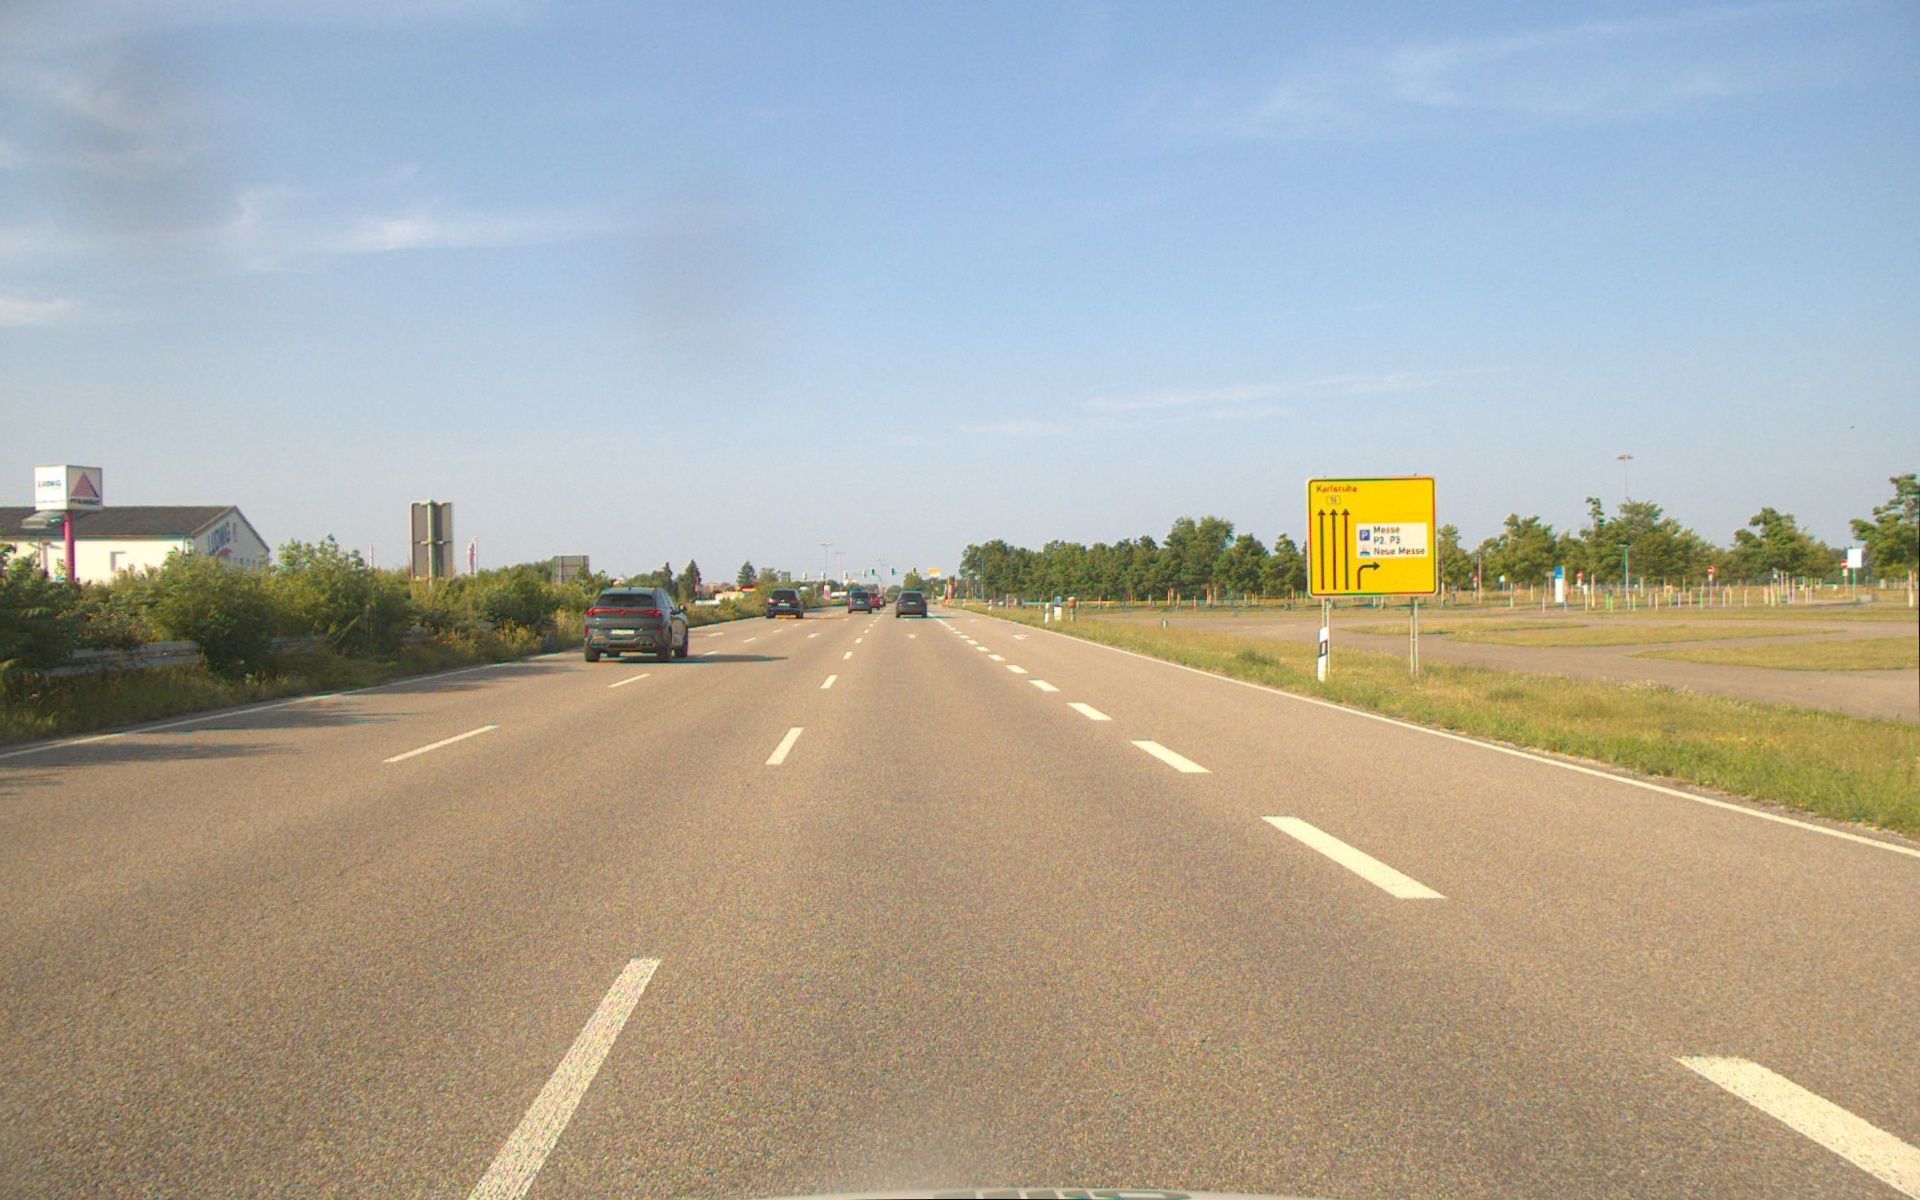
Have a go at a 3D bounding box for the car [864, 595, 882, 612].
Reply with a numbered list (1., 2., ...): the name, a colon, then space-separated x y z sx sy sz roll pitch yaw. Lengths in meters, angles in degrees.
1. car: -7.865 0.343 149.829 1.614 1.489 3.979 1 0 -2

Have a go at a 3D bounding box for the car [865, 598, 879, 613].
1. car: -10.587 0.652 198.250 1.612 1.758 3.399 0 -1 -3

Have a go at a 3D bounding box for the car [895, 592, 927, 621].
1. car: -3.084 0.369 102.719 1.894 1.709 4.399 1 0 -2

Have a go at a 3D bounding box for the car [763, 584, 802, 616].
1. car: -10.147 -0.014 94.731 1.894 1.709 4.399 1 0 -2

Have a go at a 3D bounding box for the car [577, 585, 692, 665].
1. car: -7.175 0.515 36.844 1.809 1.640 4.399 1 0 -2

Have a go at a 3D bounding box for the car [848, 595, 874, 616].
1. car: -7.448 0.380 124.767 1.776 1.489 4.399 1 0 -2
